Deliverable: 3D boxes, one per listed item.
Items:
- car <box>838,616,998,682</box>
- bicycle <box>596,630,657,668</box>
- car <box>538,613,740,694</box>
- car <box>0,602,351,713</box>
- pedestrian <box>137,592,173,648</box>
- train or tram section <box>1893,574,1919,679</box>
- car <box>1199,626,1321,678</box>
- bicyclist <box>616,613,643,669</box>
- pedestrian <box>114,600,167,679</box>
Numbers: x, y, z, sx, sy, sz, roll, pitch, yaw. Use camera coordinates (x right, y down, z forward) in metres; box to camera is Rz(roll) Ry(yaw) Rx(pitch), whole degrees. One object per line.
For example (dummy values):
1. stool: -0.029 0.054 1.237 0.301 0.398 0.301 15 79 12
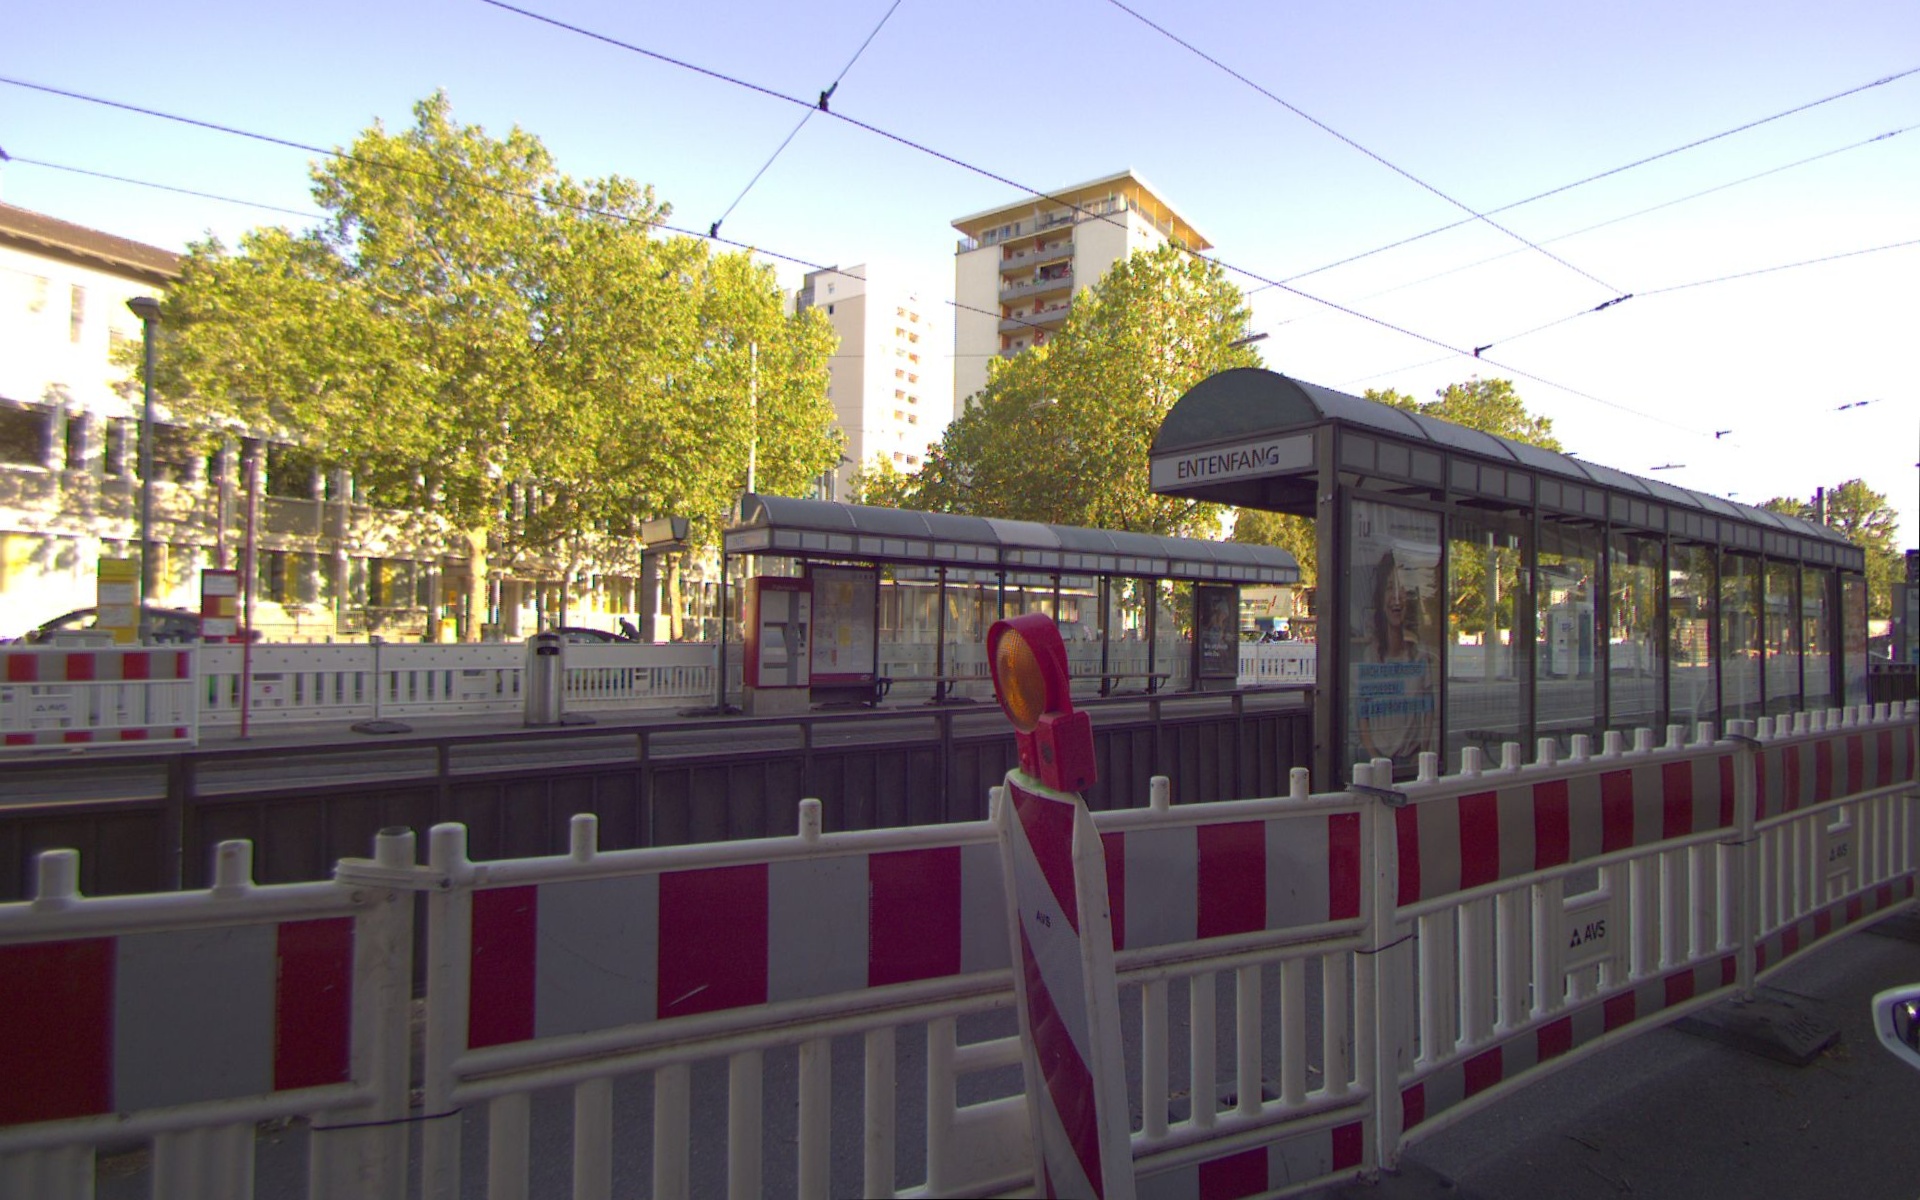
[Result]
1. car: -1.119 1.313 27.448 3.959 1.683 1.901 2 -2 -34
2. bicycle: -9.796 1.428 29.536 1.603 1.079 0.546 2 -2 -31
3. car: -7.219 1.182 22.697 3.958 1.683 1.982 2 -2 -33
4. car: -13.185 0.956 17.317 4.511 1.683 1.982 2 -2 -34
5. pedestrian: -21.634 0.536 26.997 0.576 1.474 0.584 0 -2 33
6. train or tram section: 37.757 1.083 37.008 11.656 3.580 2.668 2 0 -36
7. car: 10.409 1.790 34.812 3.958 1.683 1.982 2 -2 -33
8. bicyclist: -9.732 1.204 29.579 0.636 1.635 0.547 1 -1 -30
9. pedestrian: -19.791 0.946 24.262 0.921 1.858 0.691 2 -2 -43
